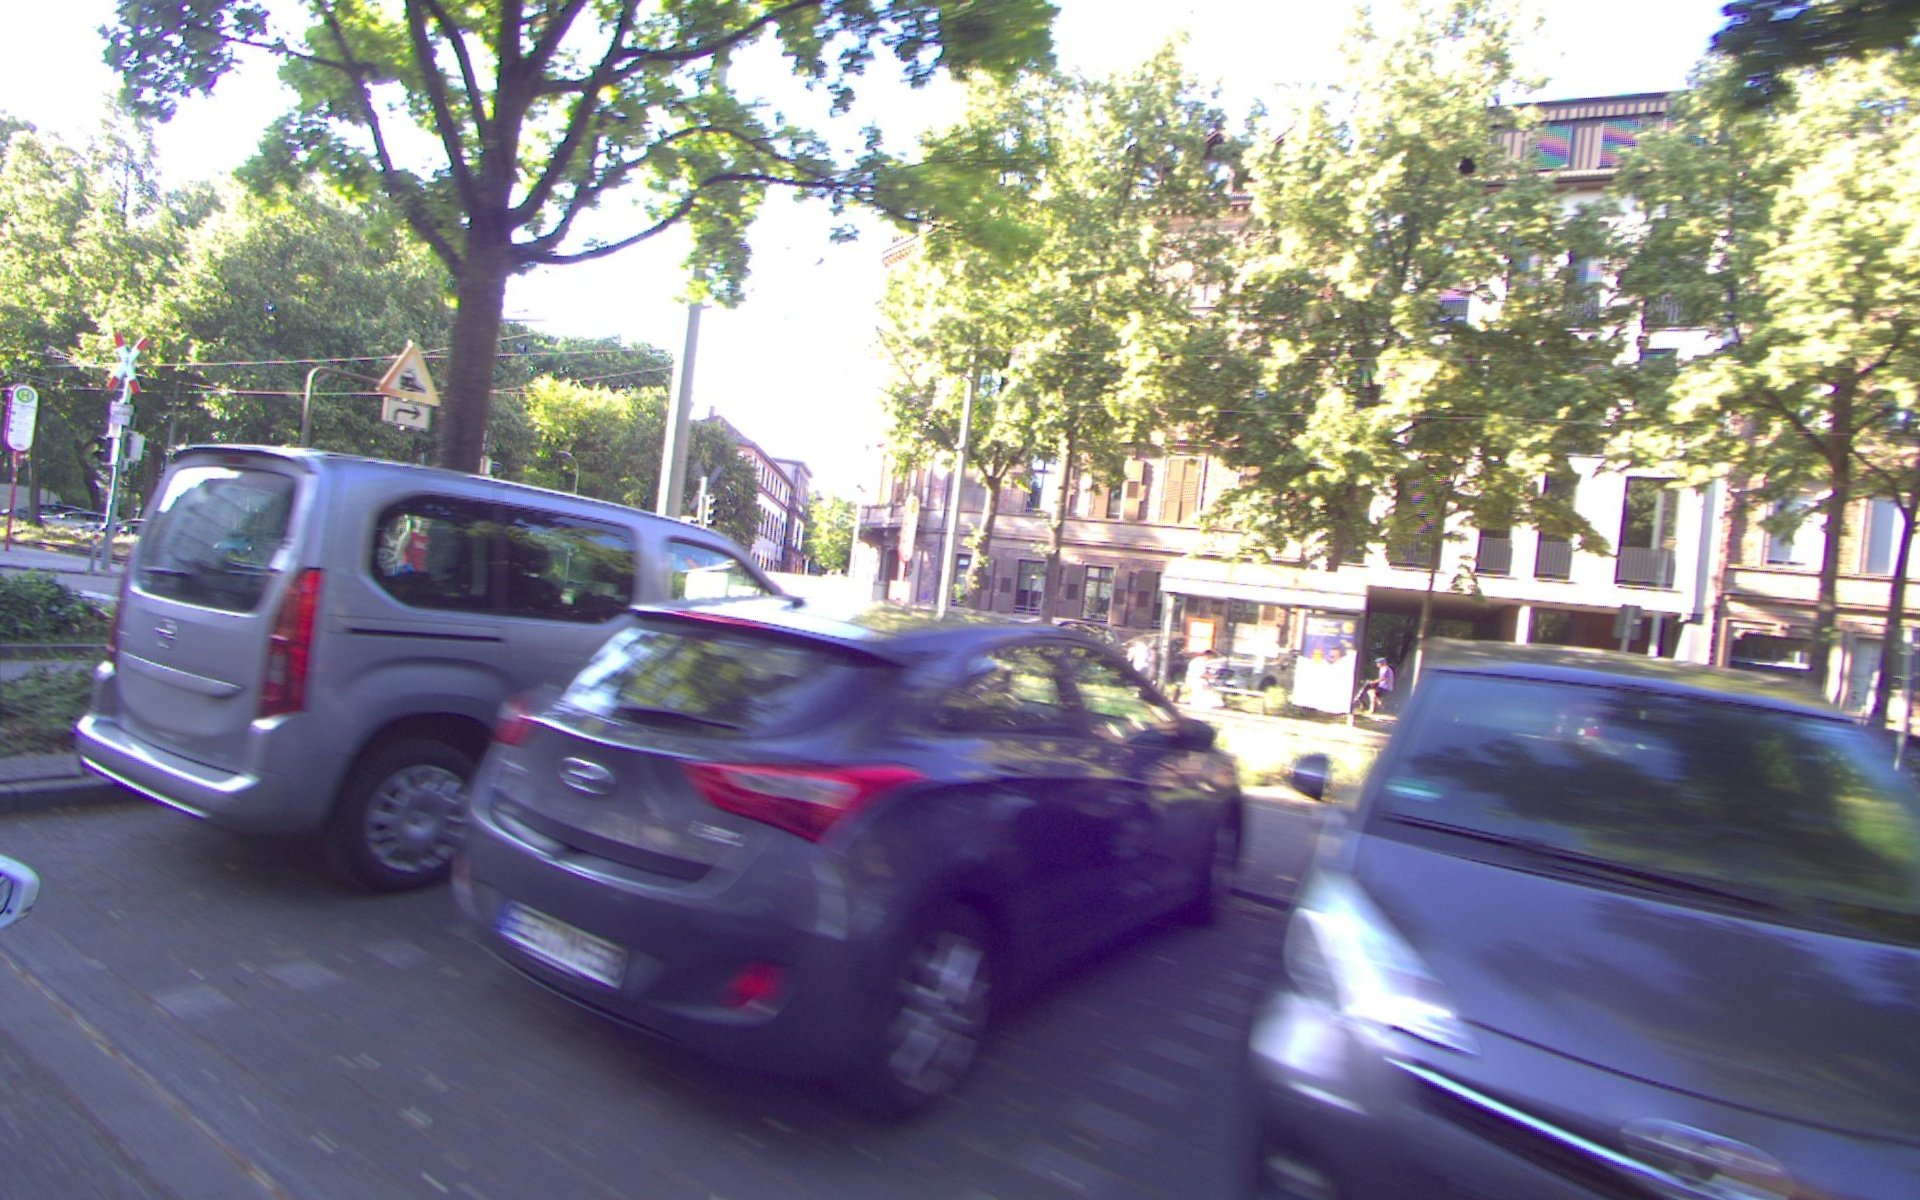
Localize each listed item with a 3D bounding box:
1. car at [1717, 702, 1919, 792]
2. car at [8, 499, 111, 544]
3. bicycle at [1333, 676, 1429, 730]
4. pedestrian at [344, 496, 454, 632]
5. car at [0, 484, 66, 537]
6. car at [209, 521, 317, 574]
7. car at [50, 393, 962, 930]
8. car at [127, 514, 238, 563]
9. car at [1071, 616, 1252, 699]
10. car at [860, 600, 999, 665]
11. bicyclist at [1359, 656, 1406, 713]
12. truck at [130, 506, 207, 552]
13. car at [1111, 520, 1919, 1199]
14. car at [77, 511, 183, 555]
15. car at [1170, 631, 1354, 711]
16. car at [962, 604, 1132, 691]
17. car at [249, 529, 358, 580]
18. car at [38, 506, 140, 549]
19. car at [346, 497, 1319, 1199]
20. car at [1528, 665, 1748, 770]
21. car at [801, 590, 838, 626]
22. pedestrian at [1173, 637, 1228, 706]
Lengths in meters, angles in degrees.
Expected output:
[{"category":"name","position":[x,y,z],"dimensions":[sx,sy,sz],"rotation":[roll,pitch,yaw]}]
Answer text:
[{"category":"car","position":[22.297,3.734,25.451],"dimensions":[4.509,1.587,1.999],"rotation":[6,0,23]},{"category":"car","position":[-47.688,-4.119,53.399],"dimensions":[3.804,1.604,1.720],"rotation":[11,-5,-39]},{"category":"bicycle","position":[11.092,2.696,26.589],"dimensions":[2.214,1.099,0.779],"rotation":[7,0,22]},{"category":"pedestrian","position":[-8.735,-0.553,15.668],"dimensions":[1.131,1.942,0.903],"rotation":[6,0,32]},{"category":"car","position":[-55.253,-5.367,58.374],"dimensions":[4.451,2.502,1.808],"rotation":[10,-4,-28]},{"category":"car","position":[-29.733,-2.204,43.007],"dimensions":[3.589,1.579,1.593],"rotation":[11,-3,-35]},{"category":"car","position":[-2.117,0.343,6.045],"dimensions":[1.919,1.937,4.542],"rotation":[5,-2,34]},{"category":"car","position":[-35.396,-2.764,45.880],"dimensions":[3.804,1.512,1.720],"rotation":[11,-5,-39]},{"category":"car","position":[5.209,1.504,25.732],"dimensions":[4.514,1.655,1.910],"rotation":[7,0,-37]},{"category":"car","position":[-1.080,1.164,35.784],"dimensions":[4.417,1.667,1.876],"rotation":[6,-3,24]},{"category":"bicyclist","position":[11.156,2.214,26.595],"dimensions":[0.961,1.370,0.779],"rotation":[7,0,21]},{"category":"truck","position":[-50.146,-4.508,63.710],"dimensions":[4.312,2.381,2.369],"rotation":[6,-1,32]},{"category":"car","position":[2.177,0.930,3.626],"dimensions":[1.916,1.711,4.447],"rotation":[5,-2,26]},{"category":"car","position":[-40.248,-3.223,48.902],"dimensions":[3.804,1.406,1.720],"rotation":[11,-5,-39]},{"category":"car","position":[7.389,1.750,24.450],"dimensions":[4.514,1.505,1.910],"rotation":[7,0,-37]},{"category":"car","position":[2.352,1.291,26.495],"dimensions":[4.388,1.707,1.723],"rotation":[9,-2,-40]},{"category":"car","position":[-27.264,-1.860,41.841],"dimensions":[3.590,1.463,1.593],"rotation":[11,-3,-35]},{"category":"car","position":[-44.997,-3.726,52.086],"dimensions":[3.804,1.436,1.720],"rotation":[11,-5,-39]},{"category":"car","position":[0.054,0.705,4.723],"dimensions":[1.919,1.591,4.542],"rotation":[5,-2,34]},{"category":"car","position":[14.572,2.529,21.595],"dimensions":[4.499,1.743,1.916],"rotation":[7,0,-28]},{"category":"car","position":[-9.398,0.555,67.539],"dimensions":[1.771,2.096,3.955],"rotation":[9,-1,-2]},{"category":"pedestrian","position":[4.991,1.478,20.857],"dimensions":[0.861,1.288,0.824],"rotation":[6,0,24]}]
